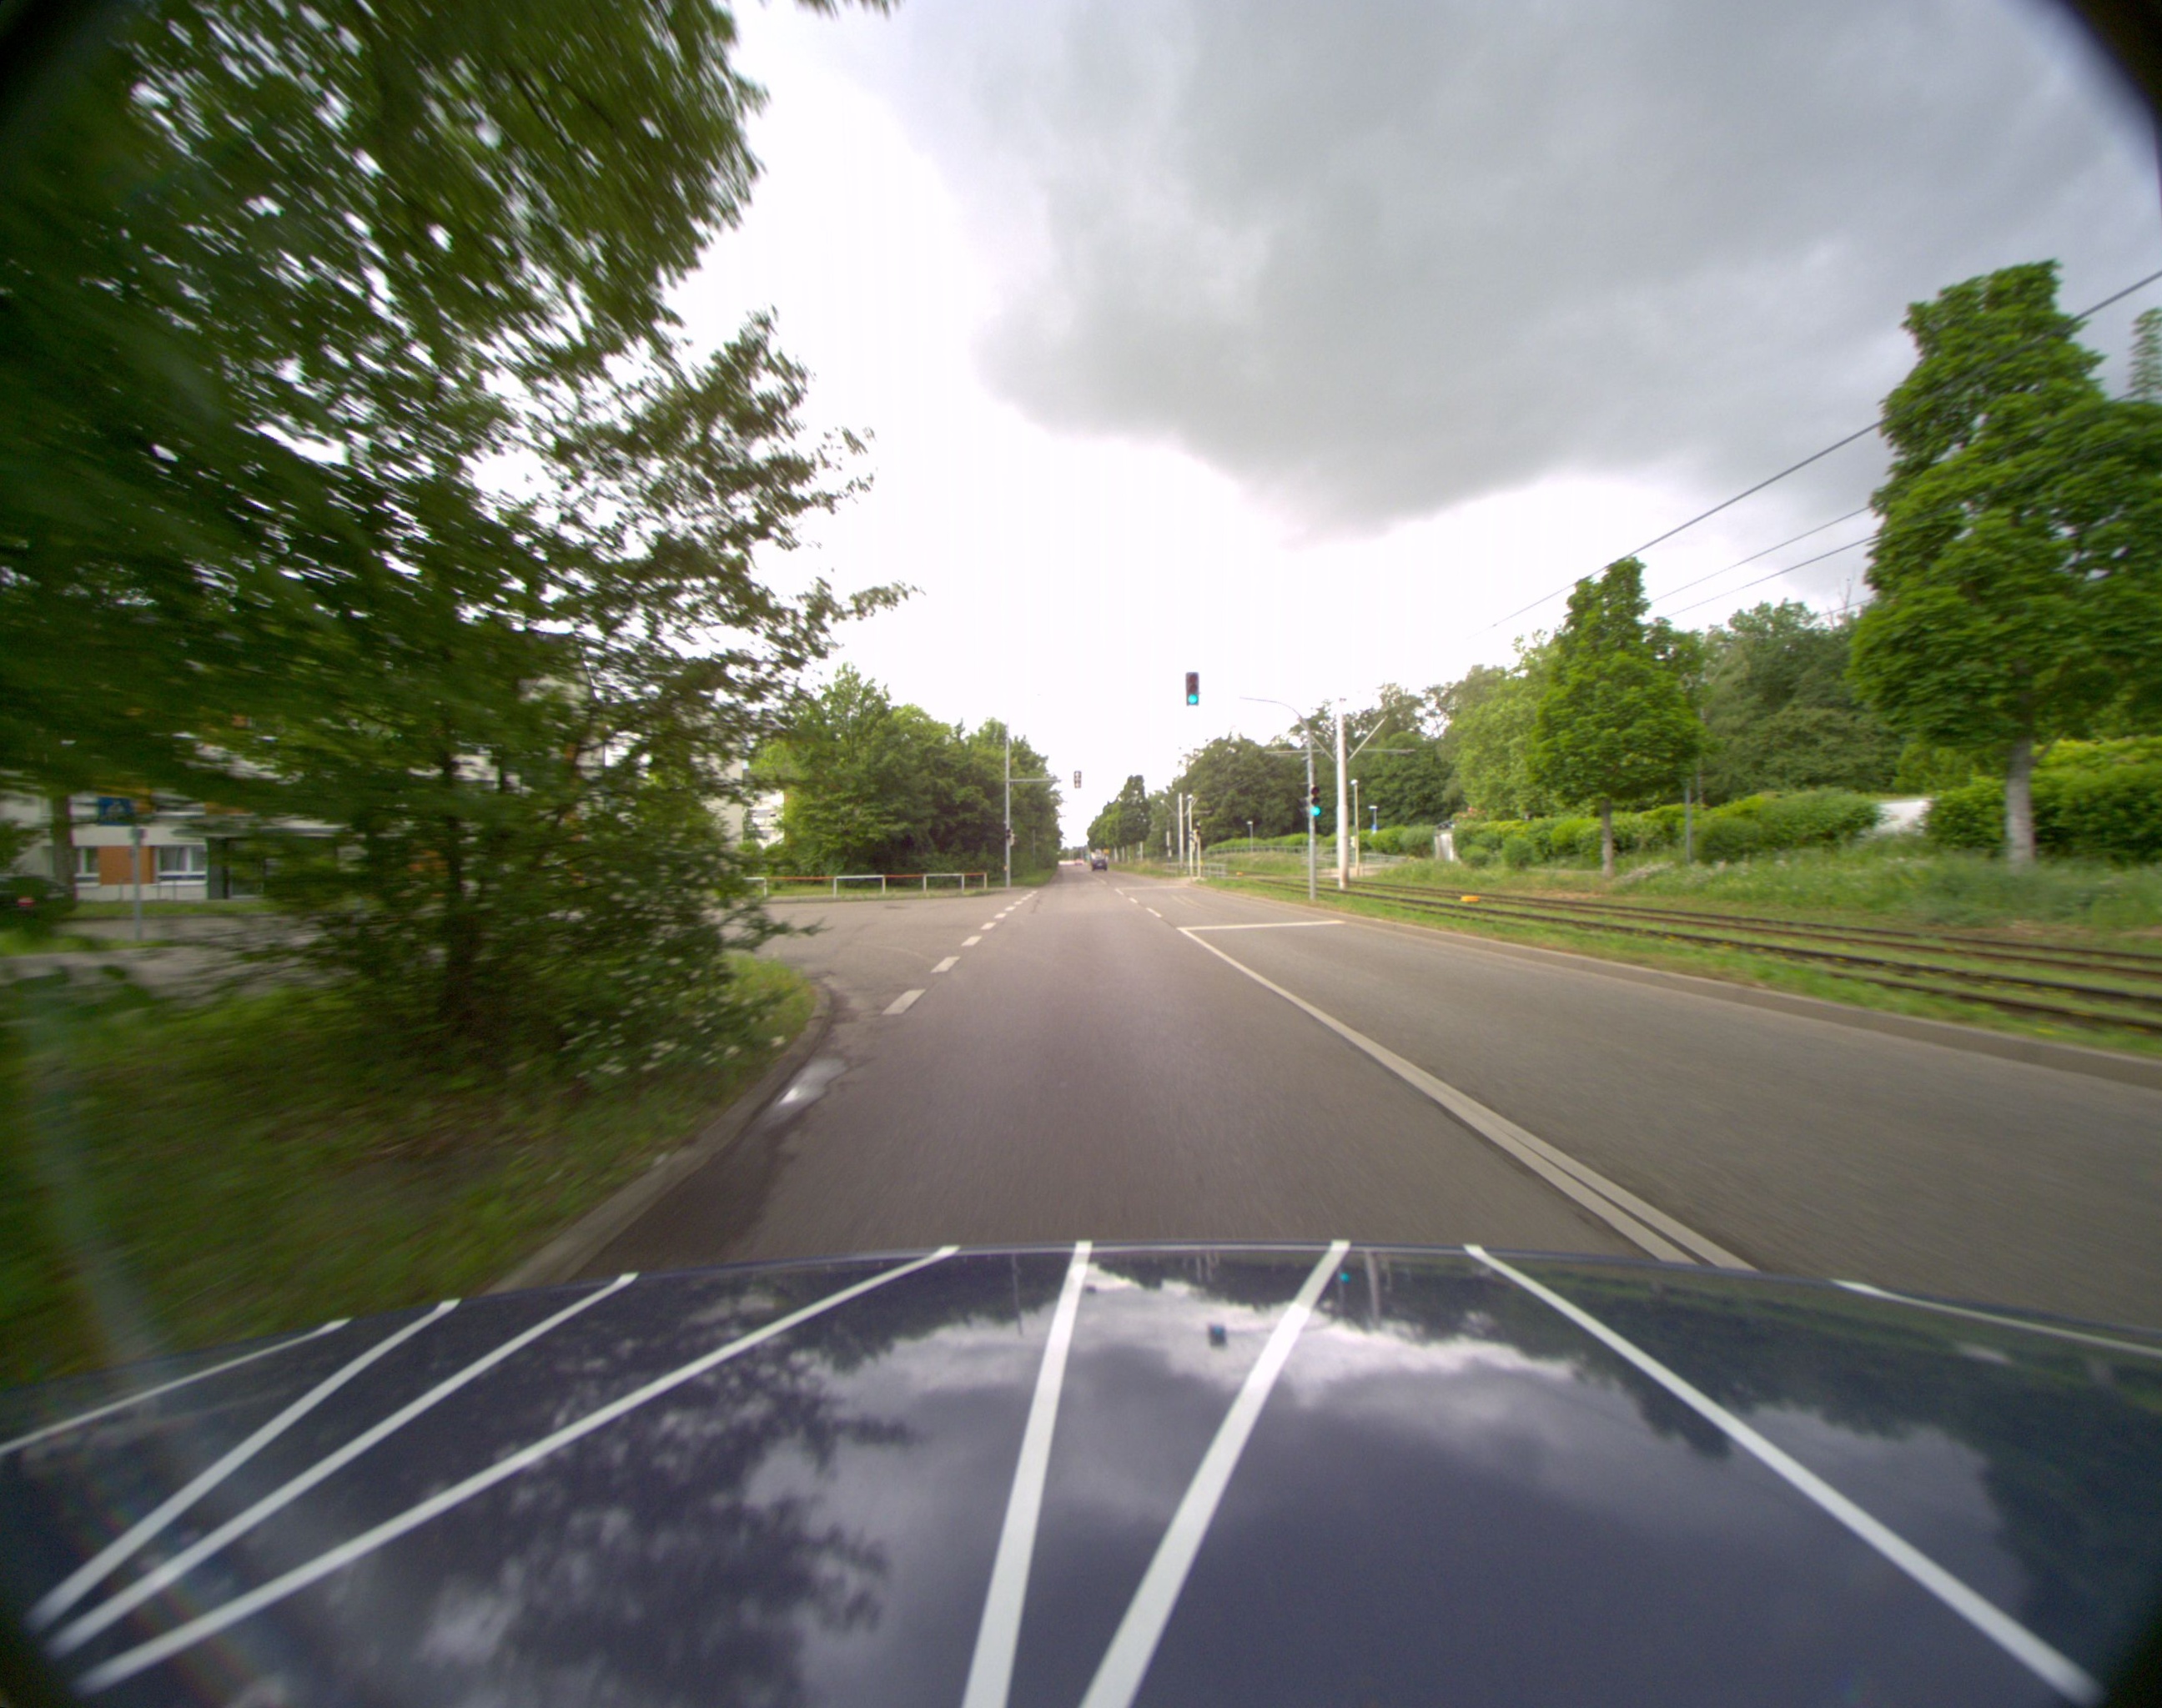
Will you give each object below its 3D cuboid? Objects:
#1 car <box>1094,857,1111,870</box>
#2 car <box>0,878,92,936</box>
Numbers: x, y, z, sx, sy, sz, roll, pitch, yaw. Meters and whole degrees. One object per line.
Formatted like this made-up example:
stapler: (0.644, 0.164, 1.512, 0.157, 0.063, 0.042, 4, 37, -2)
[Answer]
car: (2.592, 1.158, 92.506, 1.855, 1.461, 4.255, -2, 0, -1)
car: (-30.074, 1.460, 20.511, 3.777, 1.456, 1.635, -1, 1, -20)
